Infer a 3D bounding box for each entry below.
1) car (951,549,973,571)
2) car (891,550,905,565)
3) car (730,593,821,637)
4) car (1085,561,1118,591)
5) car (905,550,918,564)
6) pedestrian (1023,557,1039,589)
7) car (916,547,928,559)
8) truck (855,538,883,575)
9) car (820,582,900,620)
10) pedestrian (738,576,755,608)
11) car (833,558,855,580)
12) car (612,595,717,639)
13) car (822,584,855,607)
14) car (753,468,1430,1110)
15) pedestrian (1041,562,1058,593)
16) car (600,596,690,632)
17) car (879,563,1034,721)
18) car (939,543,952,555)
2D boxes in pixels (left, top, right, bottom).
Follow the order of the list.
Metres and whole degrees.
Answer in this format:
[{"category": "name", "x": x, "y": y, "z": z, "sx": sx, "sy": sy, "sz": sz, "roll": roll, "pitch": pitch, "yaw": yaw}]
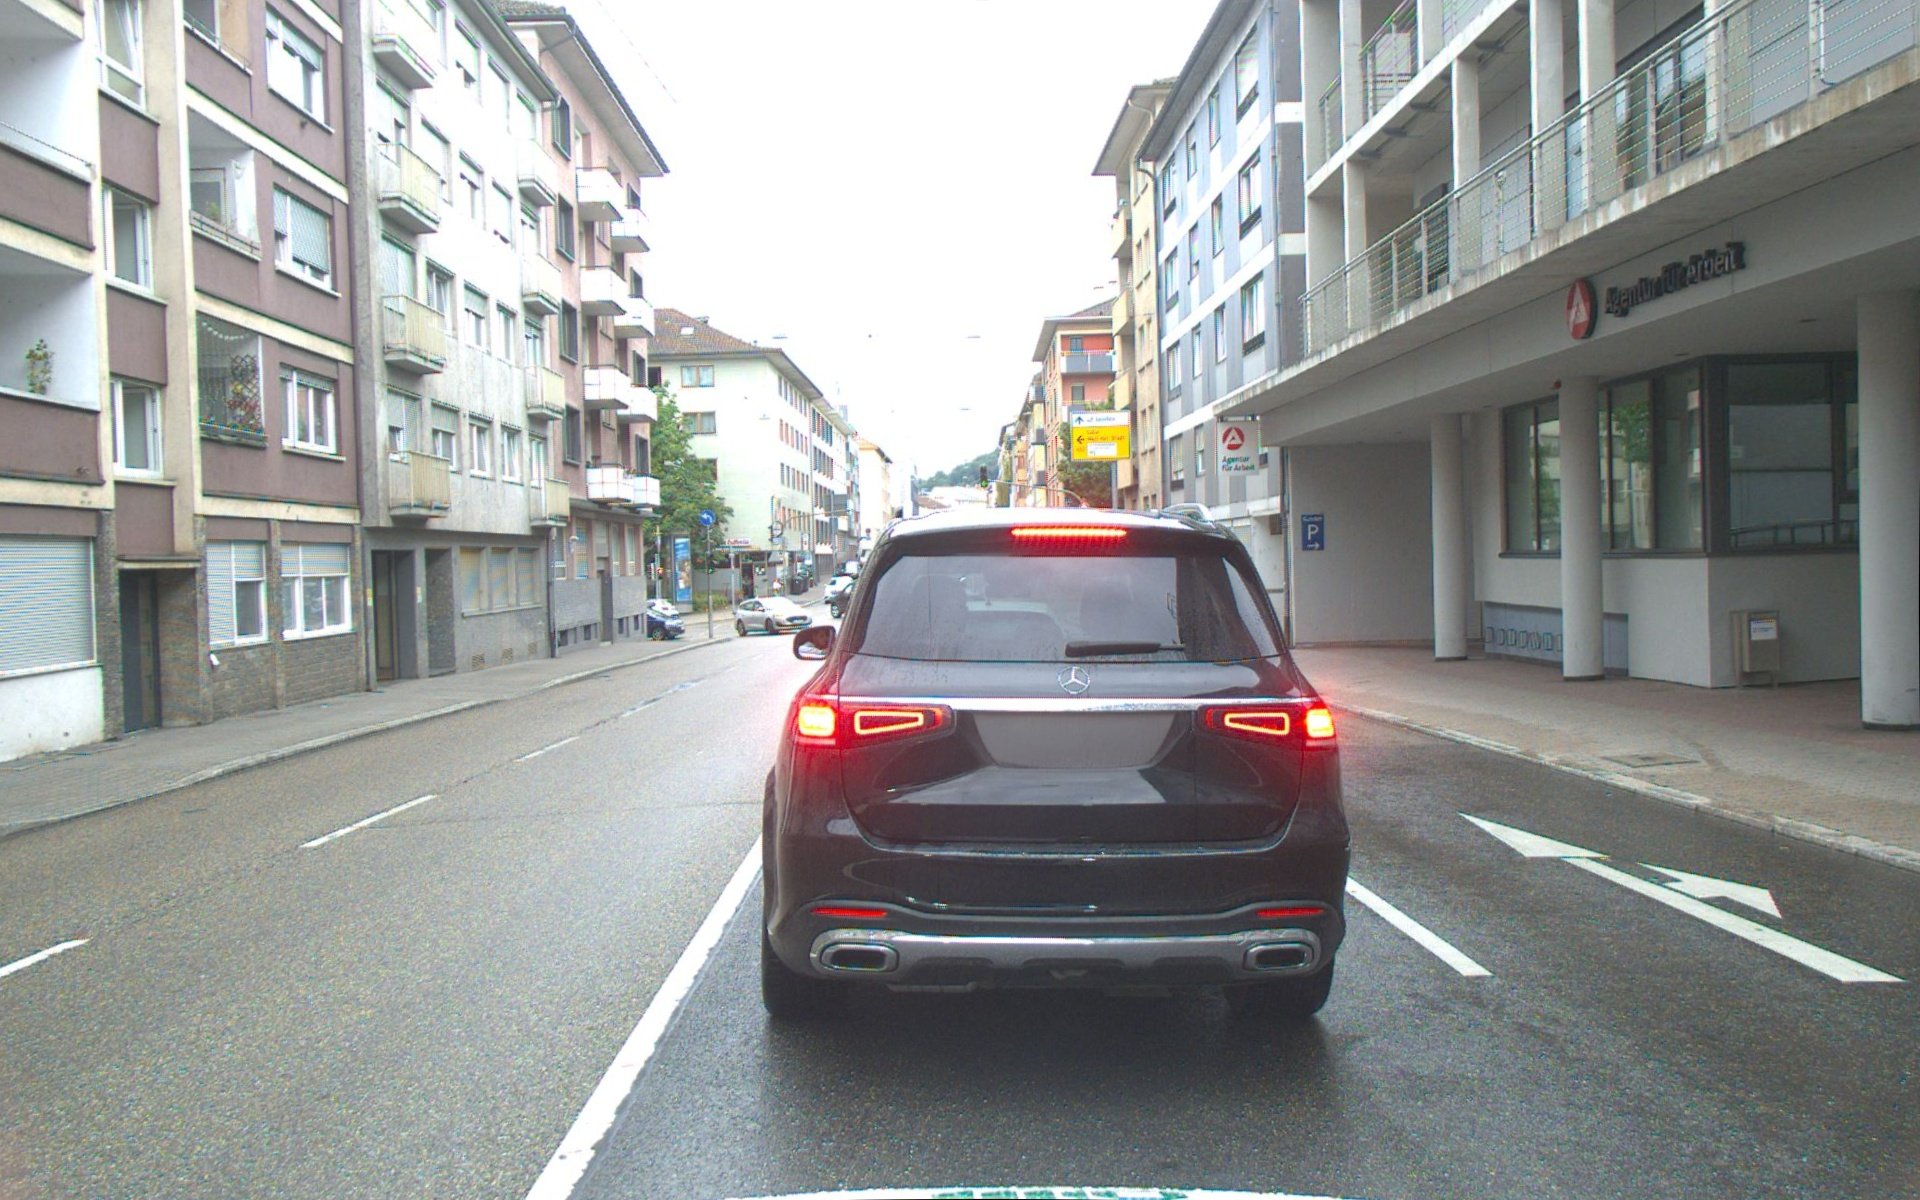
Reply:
[{"category": "car", "x": 0.182, "y": -3.748, "z": 155.748, "sx": 1.689, "sy": 1.790, "sz": 4.215, "roll": -3, "pitch": 0, "yaw": -3}, {"category": "car", "x": -7.266, "y": -4.938, "z": 193.584, "sx": 1.586, "sy": 1.566, "sz": 4.215, "roll": -3, "pitch": 0, "yaw": -3}, {"category": "car", "x": -7.551, "y": 0.626, "z": 67.439, "sx": 1.759, "sy": 1.566, "sz": 4.302, "roll": -3, "pitch": 0, "yaw": -36}, {"category": "car", "x": 8.102, "y": -1.354, "z": 94.733, "sx": 1.636, "sy": 1.616, "sz": 3.331, "roll": -2, "pitch": 1, "yaw": 1}, {"category": "car", "x": -6.458, "y": -5.709, "z": 219.192, "sx": 1.586, "sy": 1.566, "sz": 4.215, "roll": -3, "pitch": 0, "yaw": -3}, {"category": "pedestrian", "x": 4.549, "y": -1.719, "z": 106.515, "sx": 0.904, "sy": 2.049, "sz": 0.706, "roll": -2, "pitch": 0, "yaw": -3}, {"category": "car", "x": -5.774, "y": -7.124, "z": 250.018, "sx": 1.586, "sy": 1.566, "sz": 4.215, "roll": -3, "pitch": 0, "yaw": -3}, {"category": "truck", "x": -8.587, "y": -4.048, "z": 156.921, "sx": 2.430, "sy": 3.099, "sz": 9.914, "roll": -3, "pitch": 0, "yaw": -3}, {"category": "car", "x": -4.741, "y": 0.047, "z": 78.013, "sx": 1.801, "sy": 1.566, "sz": 4.164, "roll": -3, "pitch": 0, "yaw": -36}, {"category": "pedestrian", "x": -13.154, "y": -0.473, "z": 101.775, "sx": 0.904, "sy": 1.935, "sz": 0.706, "roll": -2, "pitch": 0, "yaw": -3}, {"category": "car", "x": -9.199, "y": -2.481, "z": 131.469, "sx": 1.586, "sy": 1.566, "sz": 4.215, "roll": -3, "pitch": 0, "yaw": -3}, {"category": "car", "x": -12.958, "y": 0.721, "z": 72.547, "sx": 4.284, "sy": 1.735, "sz": 1.990, "roll": -2, "pitch": 0, "yaw": -18}, {"category": "car", "x": -7.349, "y": -0.266, "z": 100.694, "sx": 1.848, "sy": 1.286, "sz": 4.215, "roll": -3, "pitch": 0, "yaw": -3}, {"category": "car", "x": 0.357, "y": 0.561, "z": 6.998, "sx": 1.944, "sy": 1.836, "sz": 4.389, "roll": 1, "pitch": 0, "yaw": -1}, {"category": "pedestrian", "x": 5.417, "y": -1.366, "z": 100.184, "sx": 0.904, "sy": 1.836, "sz": 0.706, "roll": -2, "pitch": 0, "yaw": -3}, {"category": "car", "x": -15.819, "y": 0.713, "z": 83.012, "sx": 4.116, "sy": 1.566, "sz": 1.624, "roll": -3, "pitch": 0, "yaw": 18}, {"category": "car", "x": -0.141, "y": 0.483, "z": 20.908, "sx": 1.716, "sy": 1.762, "sz": 4.215, "roll": -1, "pitch": 0, "yaw": -3}, {"category": "car", "x": -2.098, "y": -7.215, "z": 233.779, "sx": 1.586, "sy": 1.566, "sz": 4.215, "roll": -3, "pitch": 0, "yaw": -3}]
